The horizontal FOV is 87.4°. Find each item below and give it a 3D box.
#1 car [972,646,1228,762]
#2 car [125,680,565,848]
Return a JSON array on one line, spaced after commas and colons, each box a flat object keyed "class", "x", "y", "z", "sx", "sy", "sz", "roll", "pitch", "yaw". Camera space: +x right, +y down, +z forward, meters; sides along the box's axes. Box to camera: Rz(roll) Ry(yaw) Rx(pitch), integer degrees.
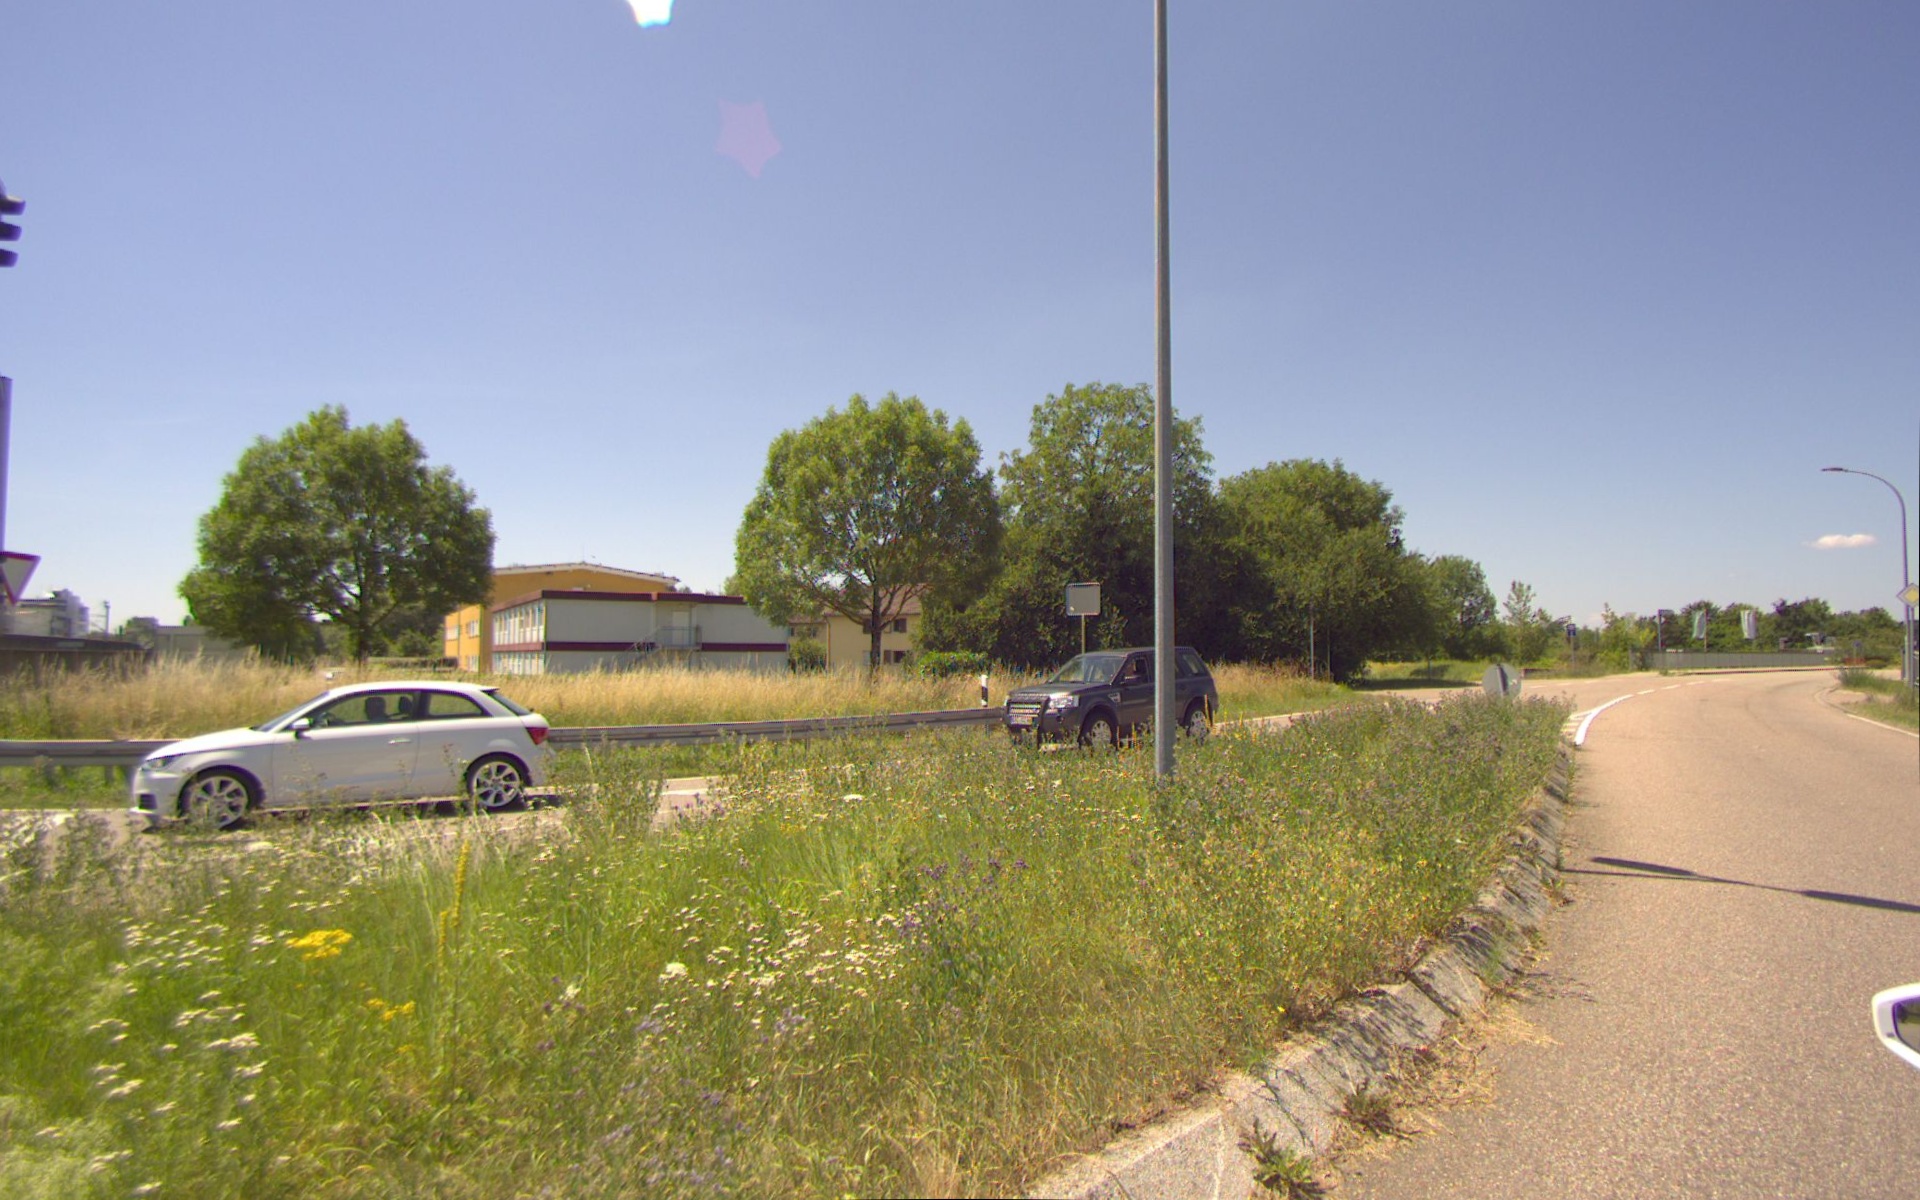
[{"class": "car", "x": 2.537, "y": 1.740, "z": 17.569, "sx": 4.450, "sy": 1.744, "sz": 1.977, "roll": 2, "pitch": -6, "yaw": -42}, {"class": "car", "x": -6.471, "y": 1.658, "z": 11.013, "sx": 3.813, "sy": 1.427, "sz": 1.720, "roll": 1, "pitch": -3, "yaw": -29}]
